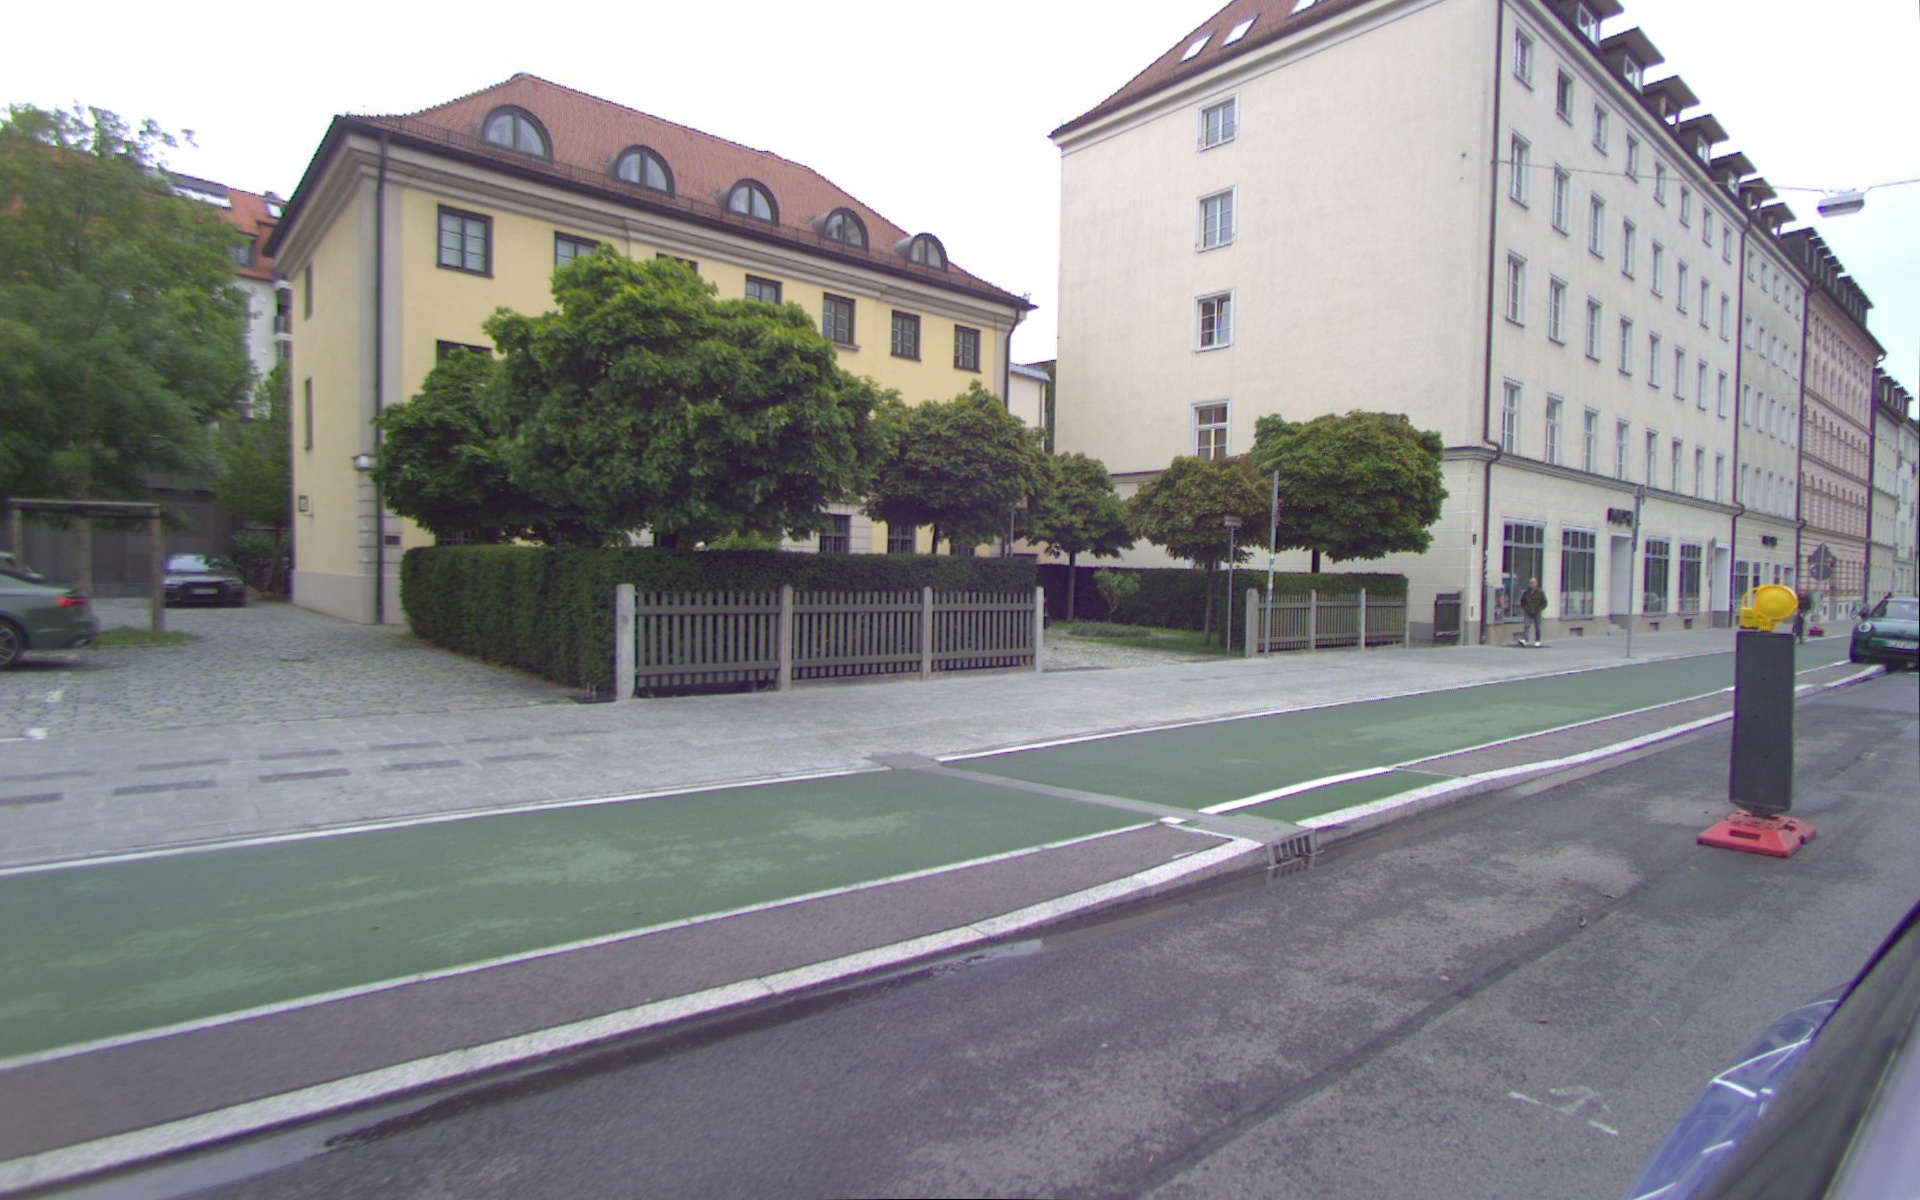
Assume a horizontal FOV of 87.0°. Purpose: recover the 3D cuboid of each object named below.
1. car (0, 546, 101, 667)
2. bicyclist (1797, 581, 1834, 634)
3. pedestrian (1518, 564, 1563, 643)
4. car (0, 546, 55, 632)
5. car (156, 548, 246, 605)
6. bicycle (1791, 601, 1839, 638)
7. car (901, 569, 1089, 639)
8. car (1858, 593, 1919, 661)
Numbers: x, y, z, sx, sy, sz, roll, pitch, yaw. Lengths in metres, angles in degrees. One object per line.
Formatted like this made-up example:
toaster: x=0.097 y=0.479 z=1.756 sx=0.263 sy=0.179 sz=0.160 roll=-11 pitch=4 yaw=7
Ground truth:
car: x=-13.103 y=0.057 z=11.920 sx=4.549 sy=1.444 sz=1.861 roll=0 pitch=2 yaw=-41
bicyclist: x=25.918 y=0.226 z=30.660 sx=0.843 sy=1.572 sz=0.723 roll=0 pitch=0 yaw=-41
pedestrian: x=14.440 y=0.076 z=25.185 sx=0.811 sy=1.897 sz=0.655 roll=0 pitch=2 yaw=-41
car: x=-17.600 y=-0.208 z=16.797 sx=3.809 sy=1.444 sz=1.694 roll=0 pitch=2 yaw=-41
car: x=-21.127 y=-0.667 z=28.111 sx=1.830 sy=1.444 sz=4.322 roll=0 pitch=2 yaw=-39
bicycle: x=25.954 y=0.577 z=30.693 sx=2.487 sy=1.045 sz=0.750 roll=0 pitch=0 yaw=-41
car: x=0.705 y=0.029 z=23.223 sx=1.824 sy=1.435 sz=4.299 roll=0 pitch=2 yaw=-43
car: x=20.712 y=0.544 z=21.669 sx=3.930 sy=1.337 sz=1.738 roll=0 pitch=1 yaw=-41
